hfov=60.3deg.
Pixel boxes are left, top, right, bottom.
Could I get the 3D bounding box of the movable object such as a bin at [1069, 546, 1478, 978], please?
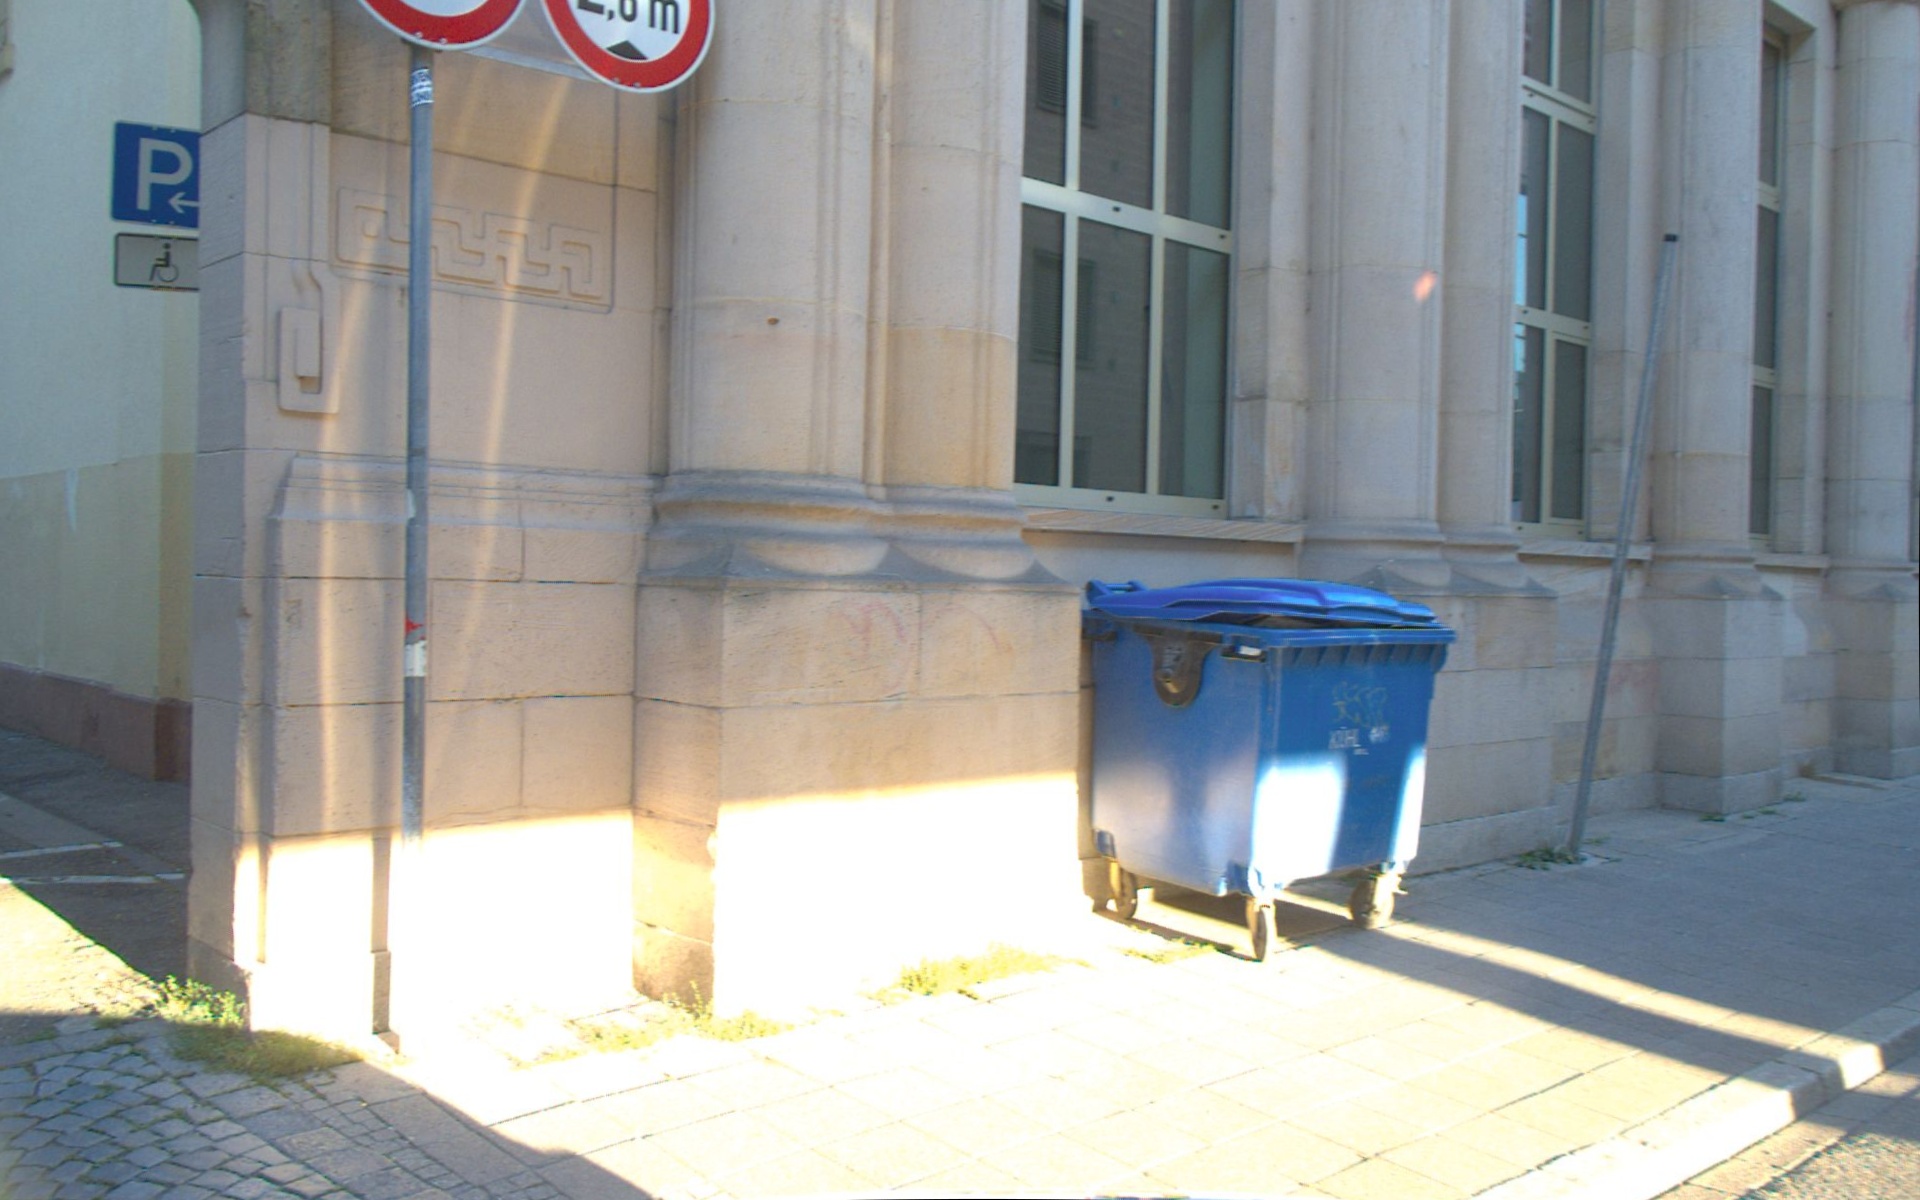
[{"bbox_3d":[1.240,0.558,6.574,1.175,1.500,1.063,1,2,-39],"label":"movable object such as a bin"}]
